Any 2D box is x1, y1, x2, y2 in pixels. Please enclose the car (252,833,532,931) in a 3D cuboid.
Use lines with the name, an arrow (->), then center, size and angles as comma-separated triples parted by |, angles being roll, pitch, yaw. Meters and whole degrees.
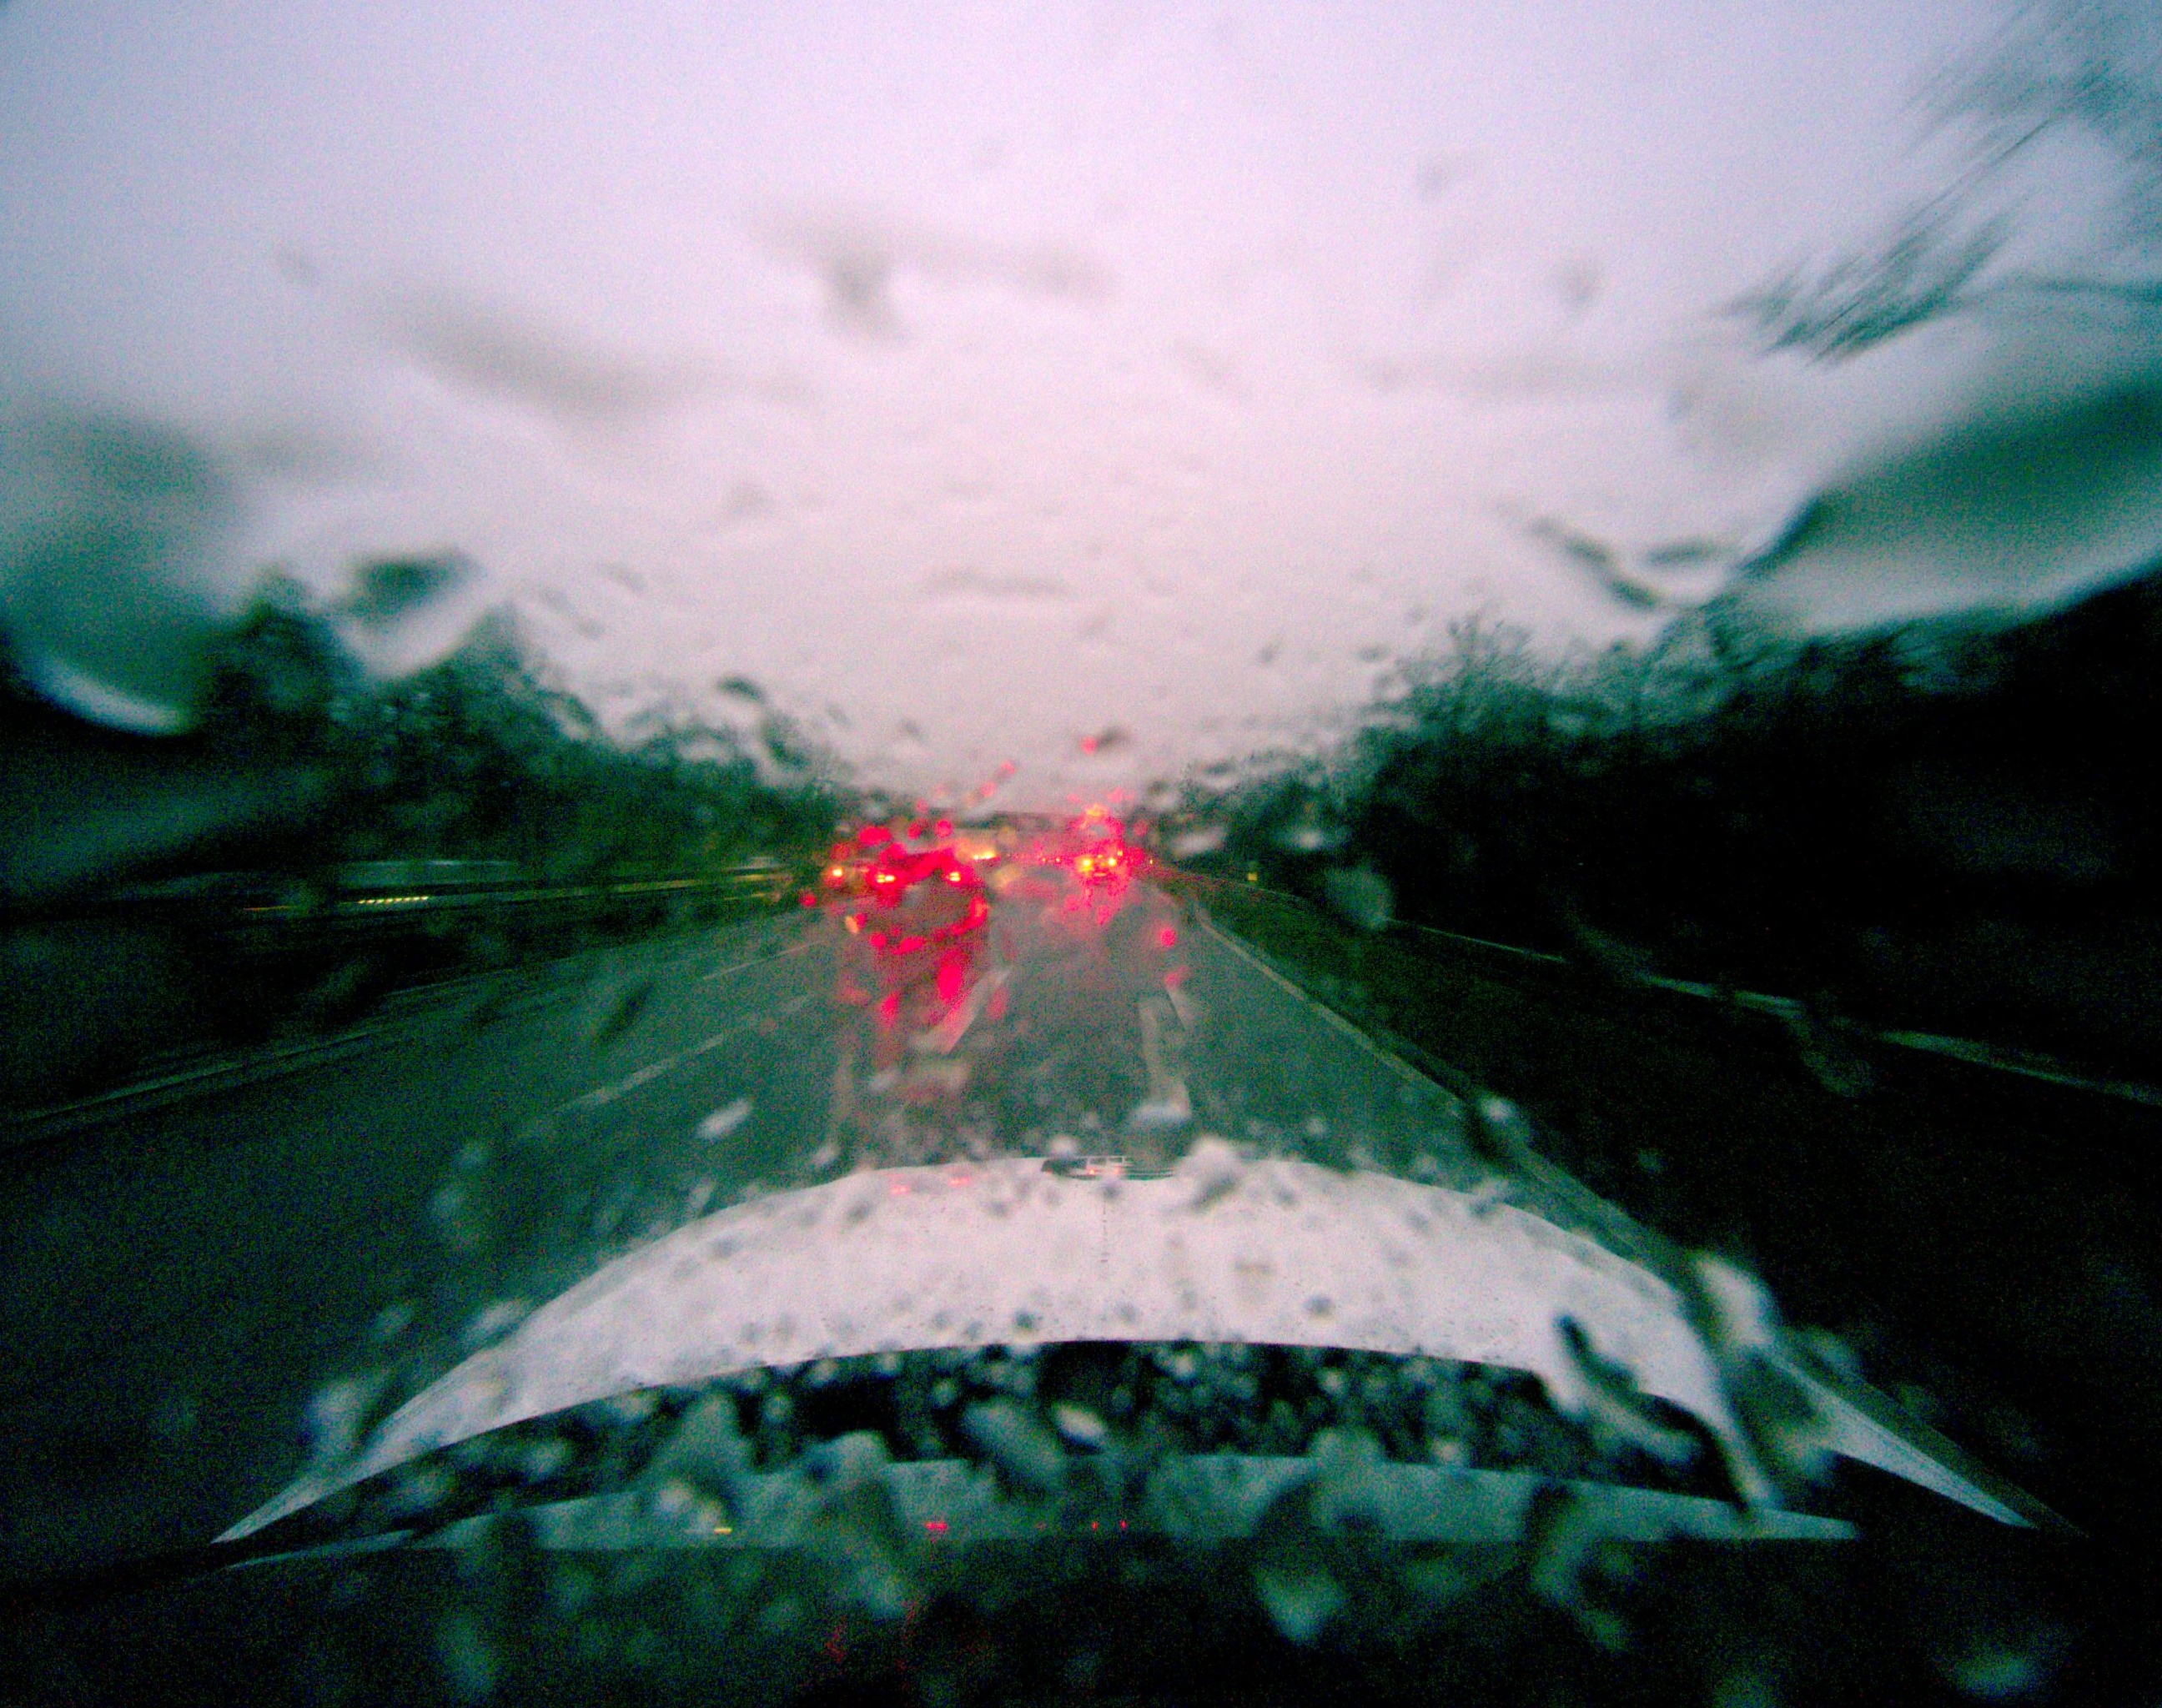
car -> -13.823, 0.552, 16.794 | 1.868, 1.684, 4.381 | 2, -1, 1

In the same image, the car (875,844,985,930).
car -> -3.230, 0.641, 18.157 | 1.990, 1.665, 3.993 | -1, 0, -5

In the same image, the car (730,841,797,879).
car -> -17.603, 0.367, 45.372 | 1.986, 2.014, 4.001 | 0, -2, 2

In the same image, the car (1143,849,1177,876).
car -> 4.586, 0.509, 47.694 | 1.677, 1.418, 3.875 | -2, -1, 2

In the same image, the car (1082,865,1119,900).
car -> 1.009, 1.360, 39.902 | 1.725, 1.429, 3.769 | 1, 2, 3

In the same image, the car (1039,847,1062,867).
car -> -2.704, 0.226, 72.881 | 1.872, 1.617, 3.874 | 1, 2, 0

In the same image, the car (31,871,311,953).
car -> -20.737, 1.239, 18.878 | 1.677, 1.635, 4.205 | -2, -1, 2
